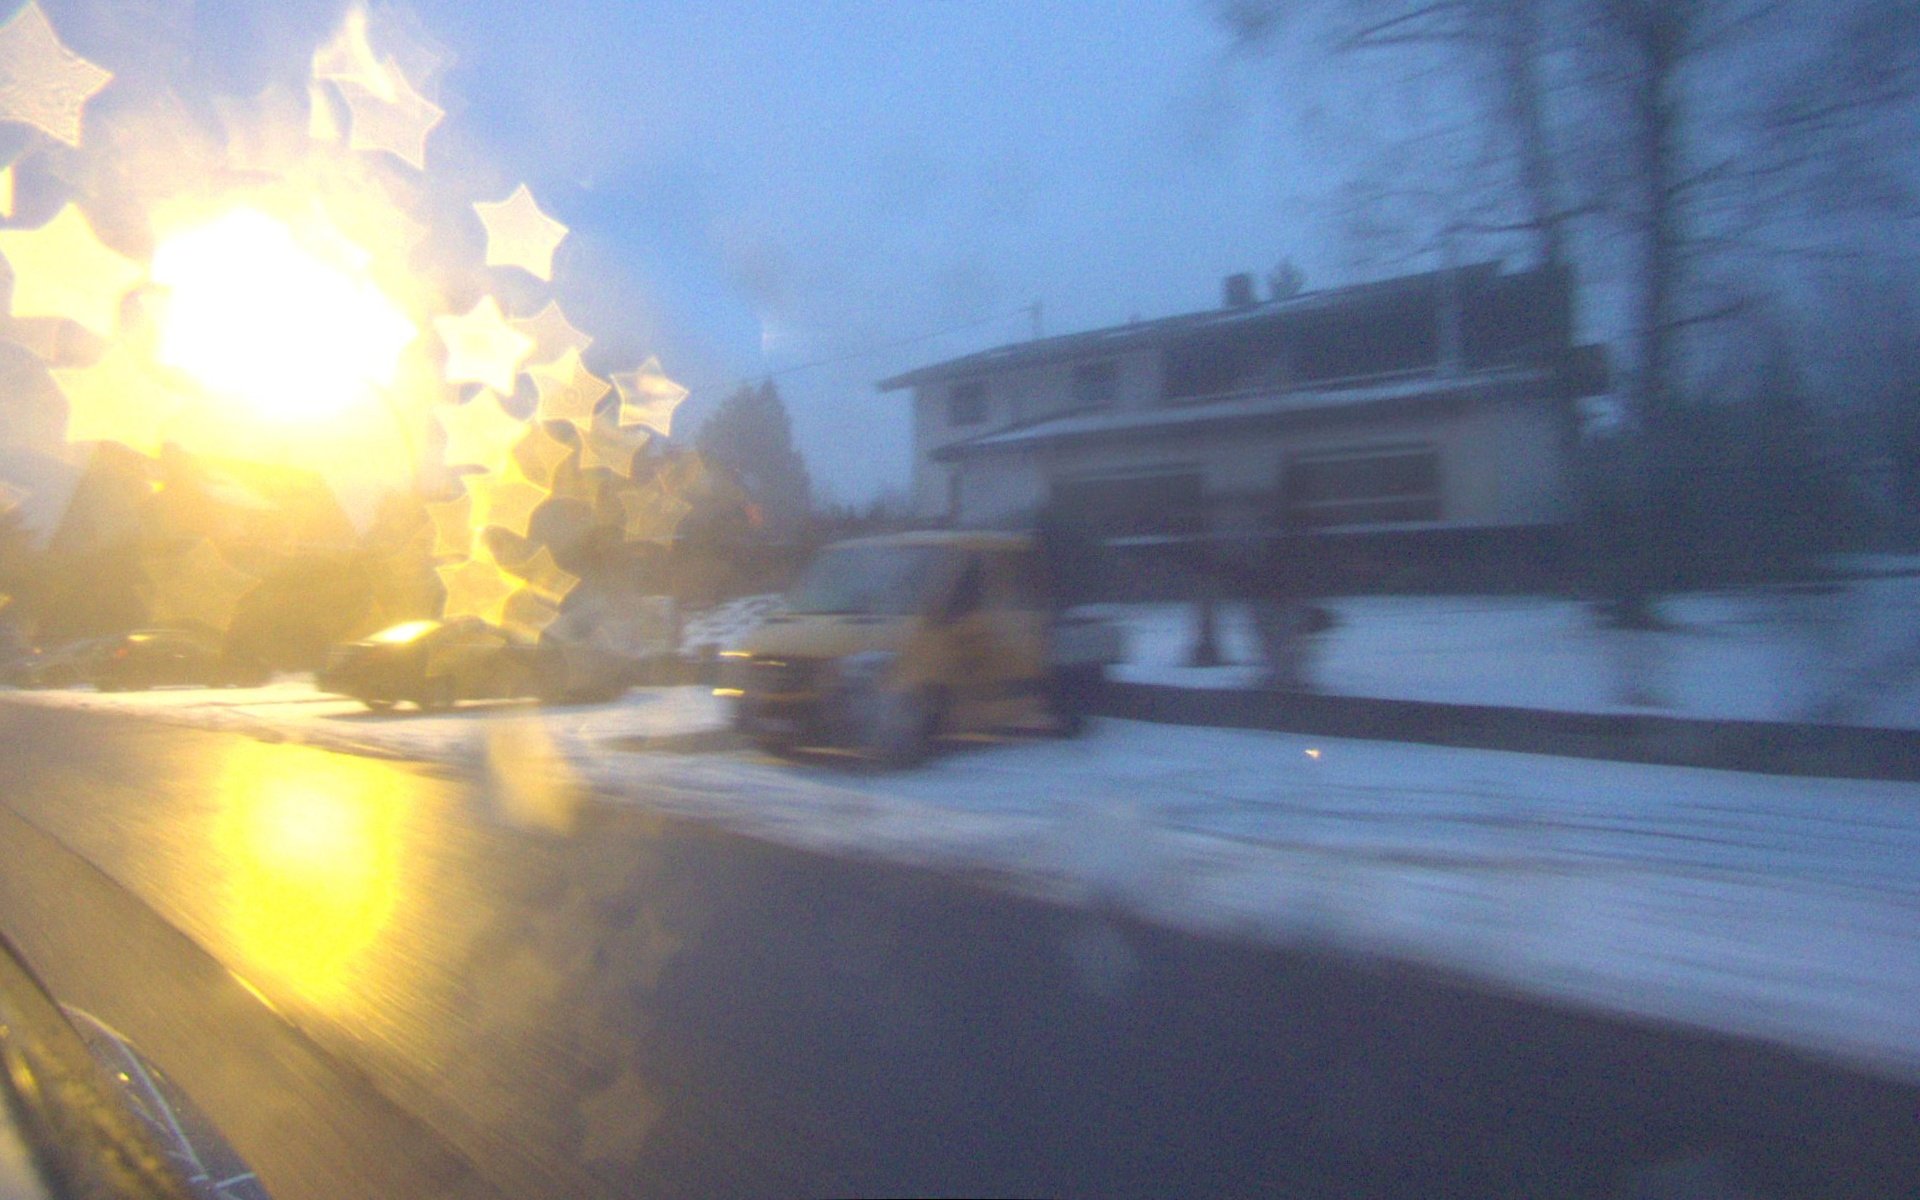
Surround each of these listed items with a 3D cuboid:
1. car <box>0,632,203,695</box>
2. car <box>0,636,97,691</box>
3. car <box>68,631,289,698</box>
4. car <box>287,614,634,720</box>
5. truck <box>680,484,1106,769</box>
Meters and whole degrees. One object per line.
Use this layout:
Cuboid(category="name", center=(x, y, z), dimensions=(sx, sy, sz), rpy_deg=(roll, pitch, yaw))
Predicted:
Cuboid(category="car", center=(-23.883, 1.707, 27.801), dimensions=(2.098, 1.578, 4.505), rpy_deg=(-2, -3, 24))
Cuboid(category="car", center=(-28.951, 1.931, 30.507), dimensions=(4.950, 1.578, 1.990), rpy_deg=(-1, -4, 15))
Cuboid(category="car", center=(-18.962, 1.534, 24.722), dimensions=(1.930, 1.483, 3.829), rpy_deg=(-2, -3, 28))
Cuboid(category="car", center=(-8.123, 1.074, 16.987), dimensions=(2.116, 1.496, 4.849), rpy_deg=(-3, -3, 32))
Cuboid(category="truck", center=(-0.378, 0.340, 11.009), dimensions=(1.993, 2.320, 5.222), rpy_deg=(-3, -4, 31))
